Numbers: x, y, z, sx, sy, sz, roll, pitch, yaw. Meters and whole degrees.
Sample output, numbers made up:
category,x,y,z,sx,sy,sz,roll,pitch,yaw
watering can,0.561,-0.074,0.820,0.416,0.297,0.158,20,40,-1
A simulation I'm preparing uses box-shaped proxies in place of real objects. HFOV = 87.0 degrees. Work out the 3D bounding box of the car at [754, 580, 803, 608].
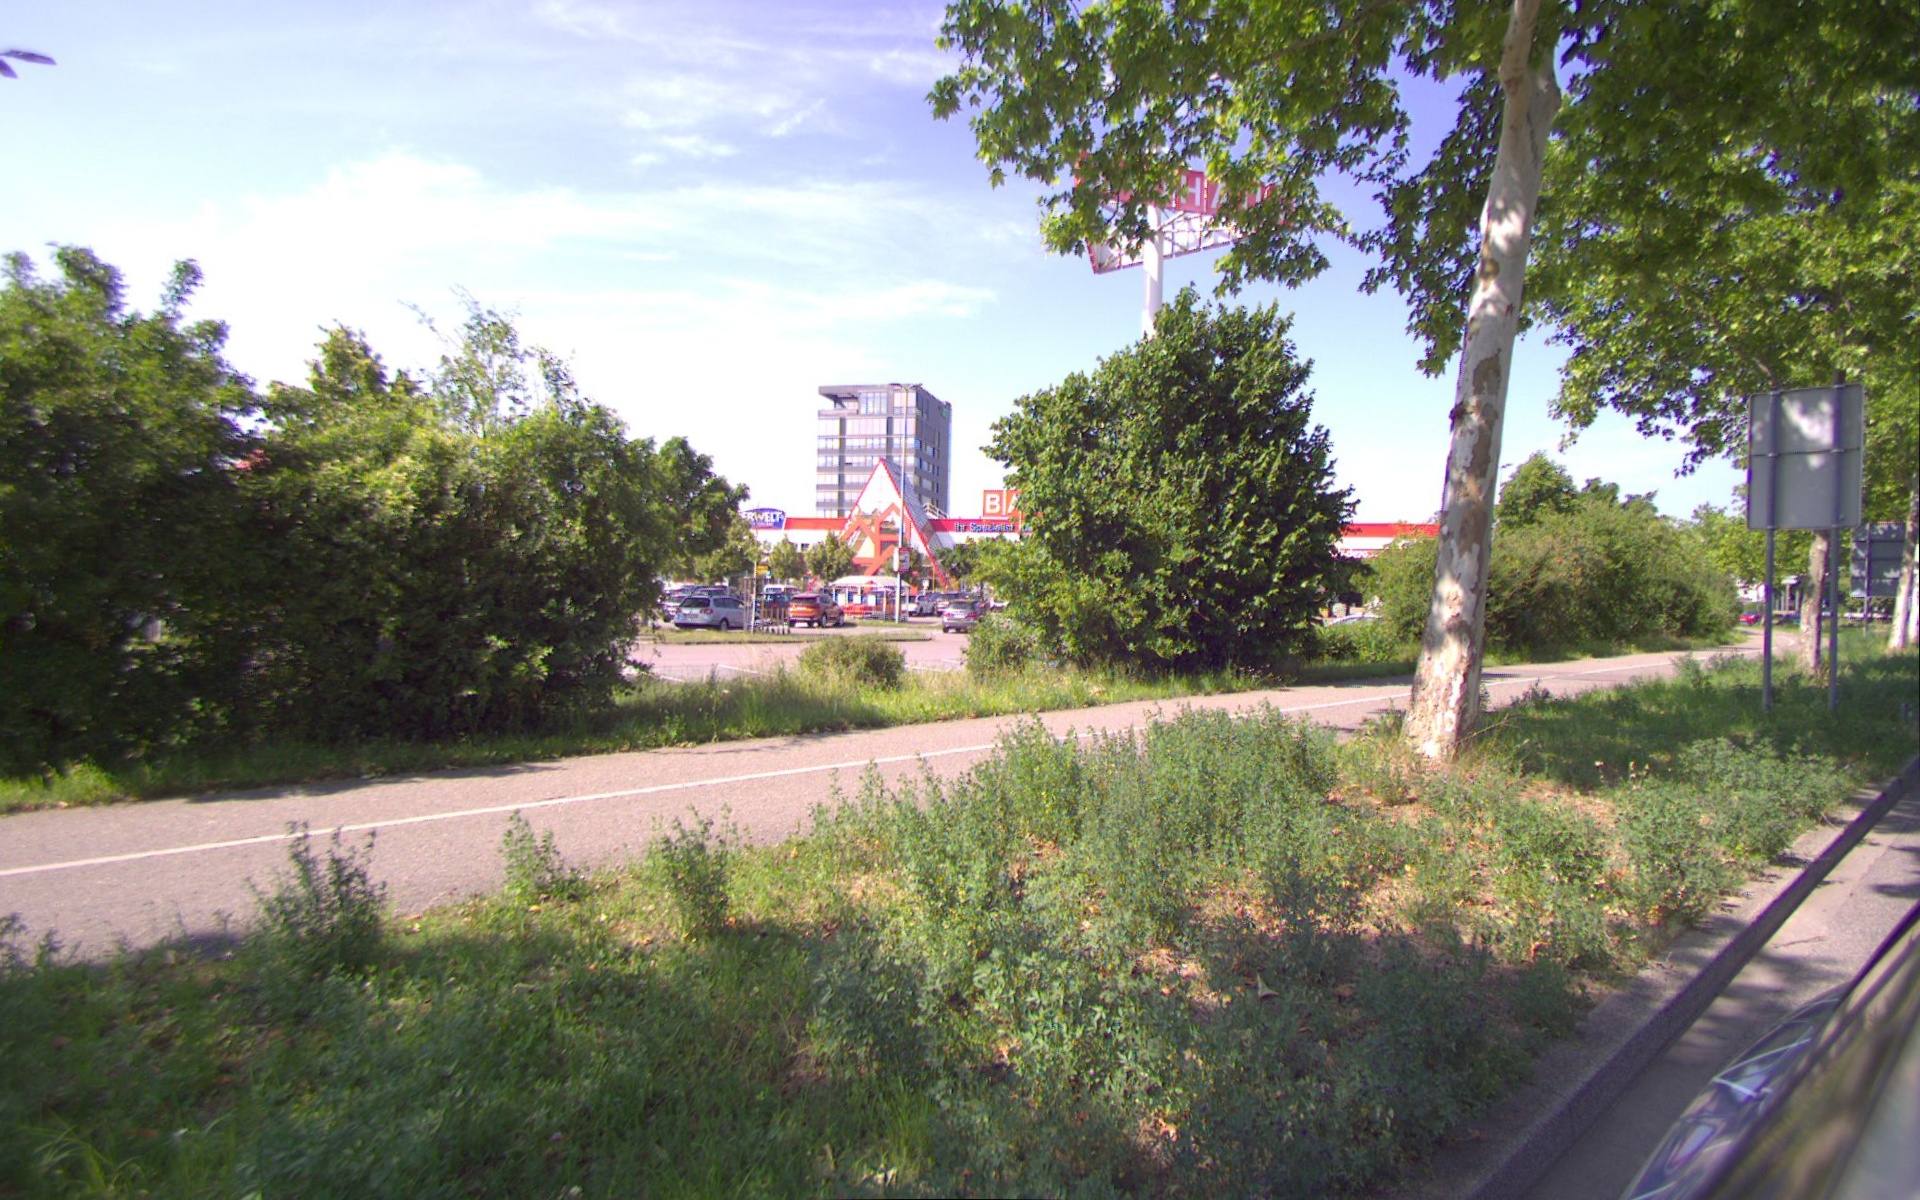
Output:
category,x,y,z,sx,sy,sz,roll,pitch,yaw
car,-12.408,-0.425,69.273,1.973,1.834,4.043,0,0,11

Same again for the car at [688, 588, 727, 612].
category,x,y,z,sx,sy,sz,roll,pitch,yaw
car,-16.849,-0.016,67.707,1.473,1.527,3.495,1,0,5

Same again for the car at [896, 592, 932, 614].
category,x,y,z,sx,sy,sz,roll,pitch,yaw
car,-2.976,0.197,66.202,1.545,1.397,3.606,0,0,11

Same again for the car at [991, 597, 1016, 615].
category,x,y,z,sx,sy,sz,roll,pitch,yaw
car,3.601,0.500,83.476,1.545,1.397,3.606,0,0,11

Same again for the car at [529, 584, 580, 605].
category,x,y,z,sx,sy,sz,roll,pitch,yaw
car,-29.523,-0.408,73.786,1.507,1.455,3.847,0,0,13

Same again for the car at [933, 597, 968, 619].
category,x,y,z,sx,sy,sz,roll,pitch,yaw
car,-0.600,0.502,65.909,1.545,1.397,3.606,0,0,11

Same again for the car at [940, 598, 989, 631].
category,x,y,z,sx,sy,sz,roll,pitch,yaw
car,0.265,0.647,47.673,1.752,1.505,3.778,0,0,9

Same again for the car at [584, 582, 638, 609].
category,x,y,z,sx,sy,sz,roll,pitch,yaw
car,-24.911,-0.315,72.395,1.861,1.868,4.043,0,0,11

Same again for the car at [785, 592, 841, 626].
category,x,y,z,sx,sy,sz,roll,pitch,yaw
car,-7.106,0.420,49.189,1.654,1.565,3.778,0,0,9

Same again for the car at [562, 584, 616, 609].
category,x,y,z,sx,sy,sz,roll,pitch,yaw
car,-22.099,-0.185,60.428,1.534,1.444,3.332,0,0,11

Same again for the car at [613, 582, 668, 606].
category,x,y,z,sx,sy,sz,roll,pitch,yaw
car,-22.483,-0.399,71.329,1.973,1.631,4.043,0,0,11

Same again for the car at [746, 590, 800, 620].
category,x,y,z,sx,sy,sz,roll,pitch,yaw
car,-10.366,0.265,56.308,1.745,1.625,3.732,0,0,11

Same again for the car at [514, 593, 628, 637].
category,x,y,z,sx,sy,sz,roll,pitch,yaw
car,-12.959,0.474,33.973,1.425,1.371,3.978,1,0,17

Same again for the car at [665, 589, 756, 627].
category,x,y,z,sx,sy,sz,roll,pitch,yaw
car,-9.450,0.336,38.625,1.759,1.289,3.806,0,-2,15
